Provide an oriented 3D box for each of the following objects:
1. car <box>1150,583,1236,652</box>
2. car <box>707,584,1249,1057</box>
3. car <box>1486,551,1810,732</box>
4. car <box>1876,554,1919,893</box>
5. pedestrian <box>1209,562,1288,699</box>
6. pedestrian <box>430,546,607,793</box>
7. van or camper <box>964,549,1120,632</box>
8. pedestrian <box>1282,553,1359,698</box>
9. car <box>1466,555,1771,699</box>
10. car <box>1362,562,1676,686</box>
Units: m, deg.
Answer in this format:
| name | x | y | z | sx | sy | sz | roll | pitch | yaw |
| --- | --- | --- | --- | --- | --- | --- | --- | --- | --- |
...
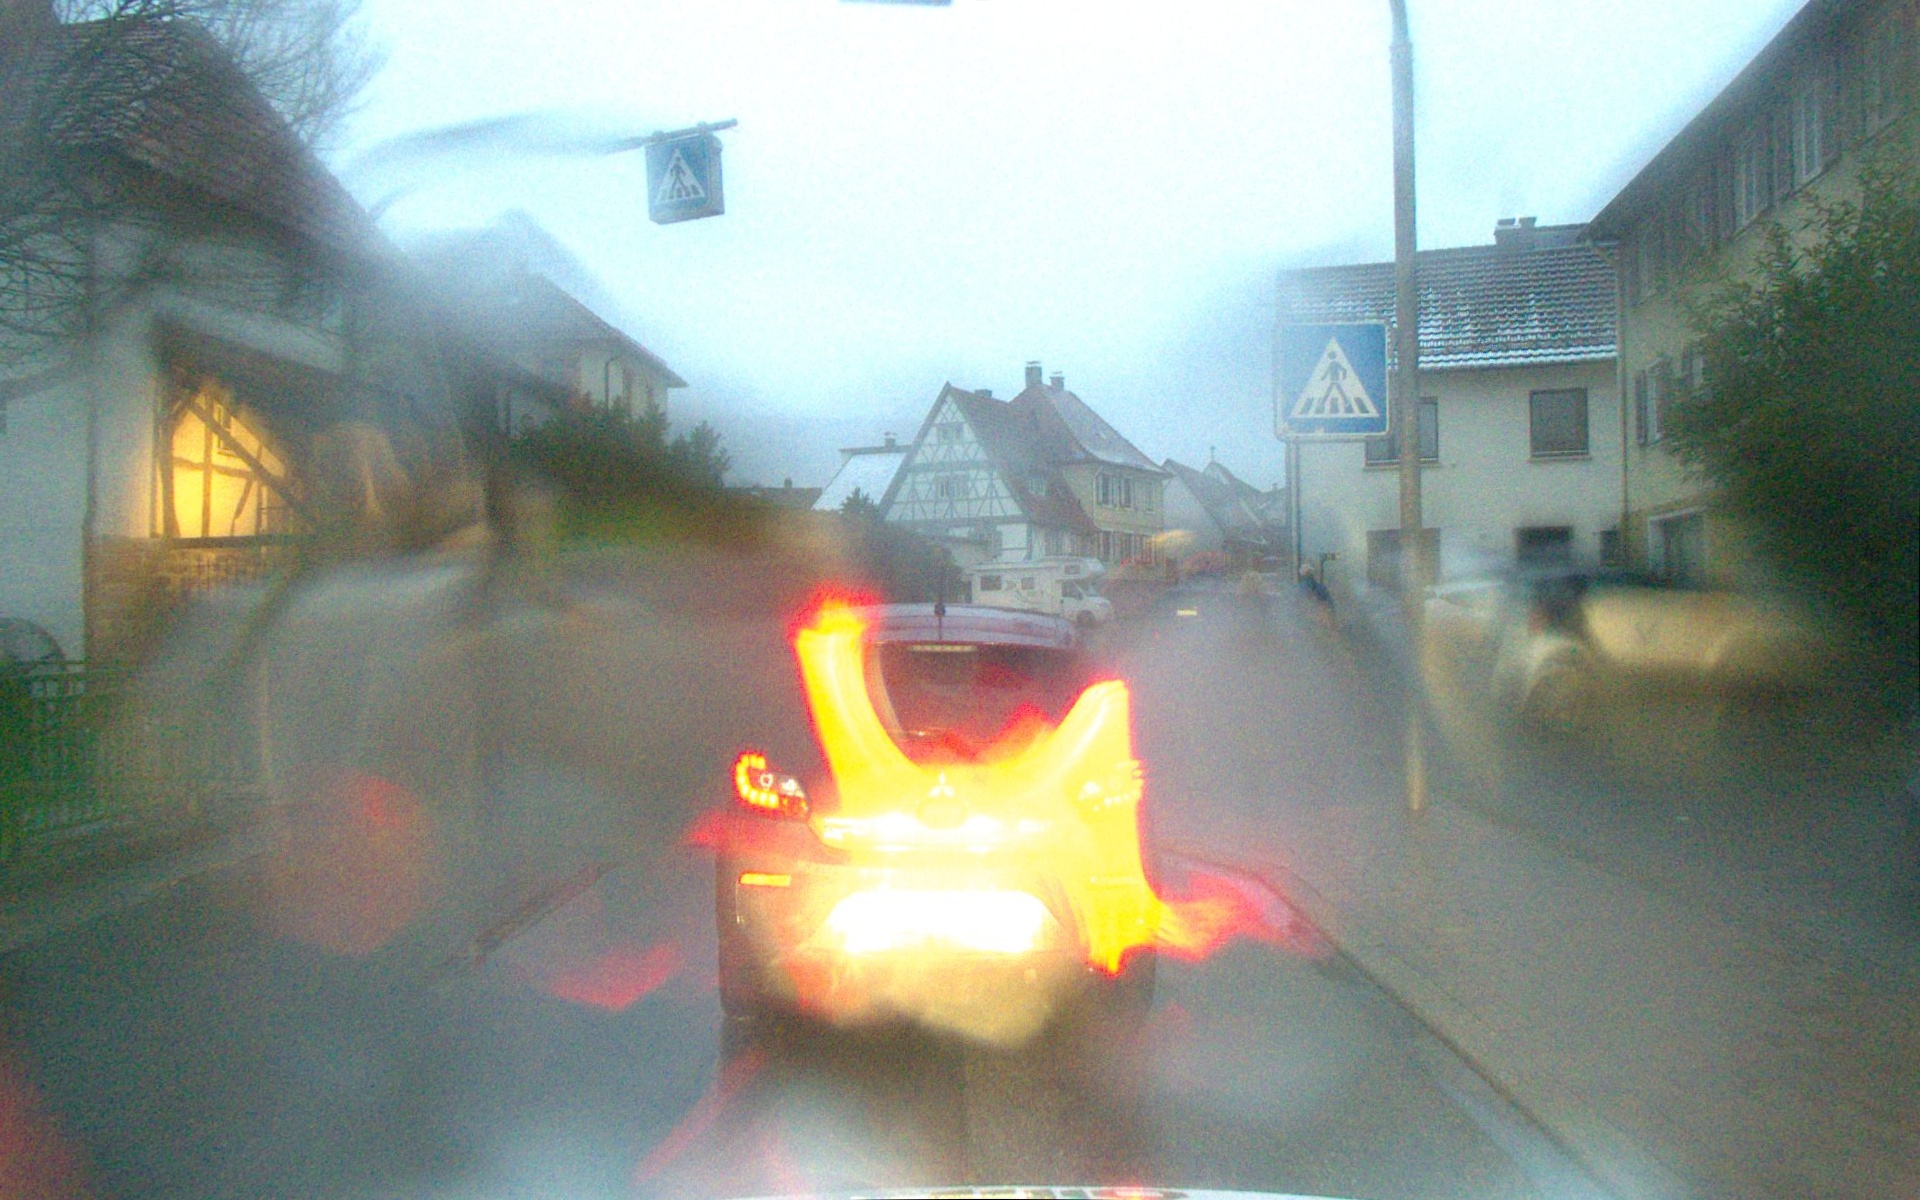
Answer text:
| name | x | y | z | sx | sy | sz | roll | pitch | yaw |
| --- | --- | --- | --- | --- | --- | --- | --- | --- | --- |
| car | 5.970 | 0.411 | 41.996 | 1.808 | 1.665 | 4.339 | 0 | 0 | 13 |
| car | -0.115 | 0.687 | 7.335 | 1.760 | 1.502 | 3.995 | 0 | 0 | -6 |
| car | 6.607 | 0.379 | 16.091 | 2.528 | 1.574 | 1.552 | -2 | 1 | 6 |
| car | 5.511 | 0.491 | 6.754 | 2.705 | 1.499 | 1.428 | -2 | 0 | 6 |
| pedestrian | 3.760 | 0.385 | 21.532 | 0.848 | 1.695 | 0.993 | -4 | 0 | 13 |
| pedestrian | -3.308 | 0.504 | 12.472 | 0.861 | 1.765 | 0.956 | -3 | 0 | 14 |
| van or camper | 3.451 | -0.385 | 69.557 | 5.936 | 3.006 | 2.406 | -4 | -1 | 21 |
| pedestrian | 4.638 | 0.318 | 21.241 | 0.830 | 1.763 | 0.972 | -4 | 0 | 14 |
| car | 7.623 | 0.303 | 19.379 | 2.999 | 1.499 | 1.551 | -2 | 0 | 9 |
| car | 7.620 | 0.320 | 22.863 | 3.817 | 1.499 | 1.752 | -2 | 0 | 9 |
